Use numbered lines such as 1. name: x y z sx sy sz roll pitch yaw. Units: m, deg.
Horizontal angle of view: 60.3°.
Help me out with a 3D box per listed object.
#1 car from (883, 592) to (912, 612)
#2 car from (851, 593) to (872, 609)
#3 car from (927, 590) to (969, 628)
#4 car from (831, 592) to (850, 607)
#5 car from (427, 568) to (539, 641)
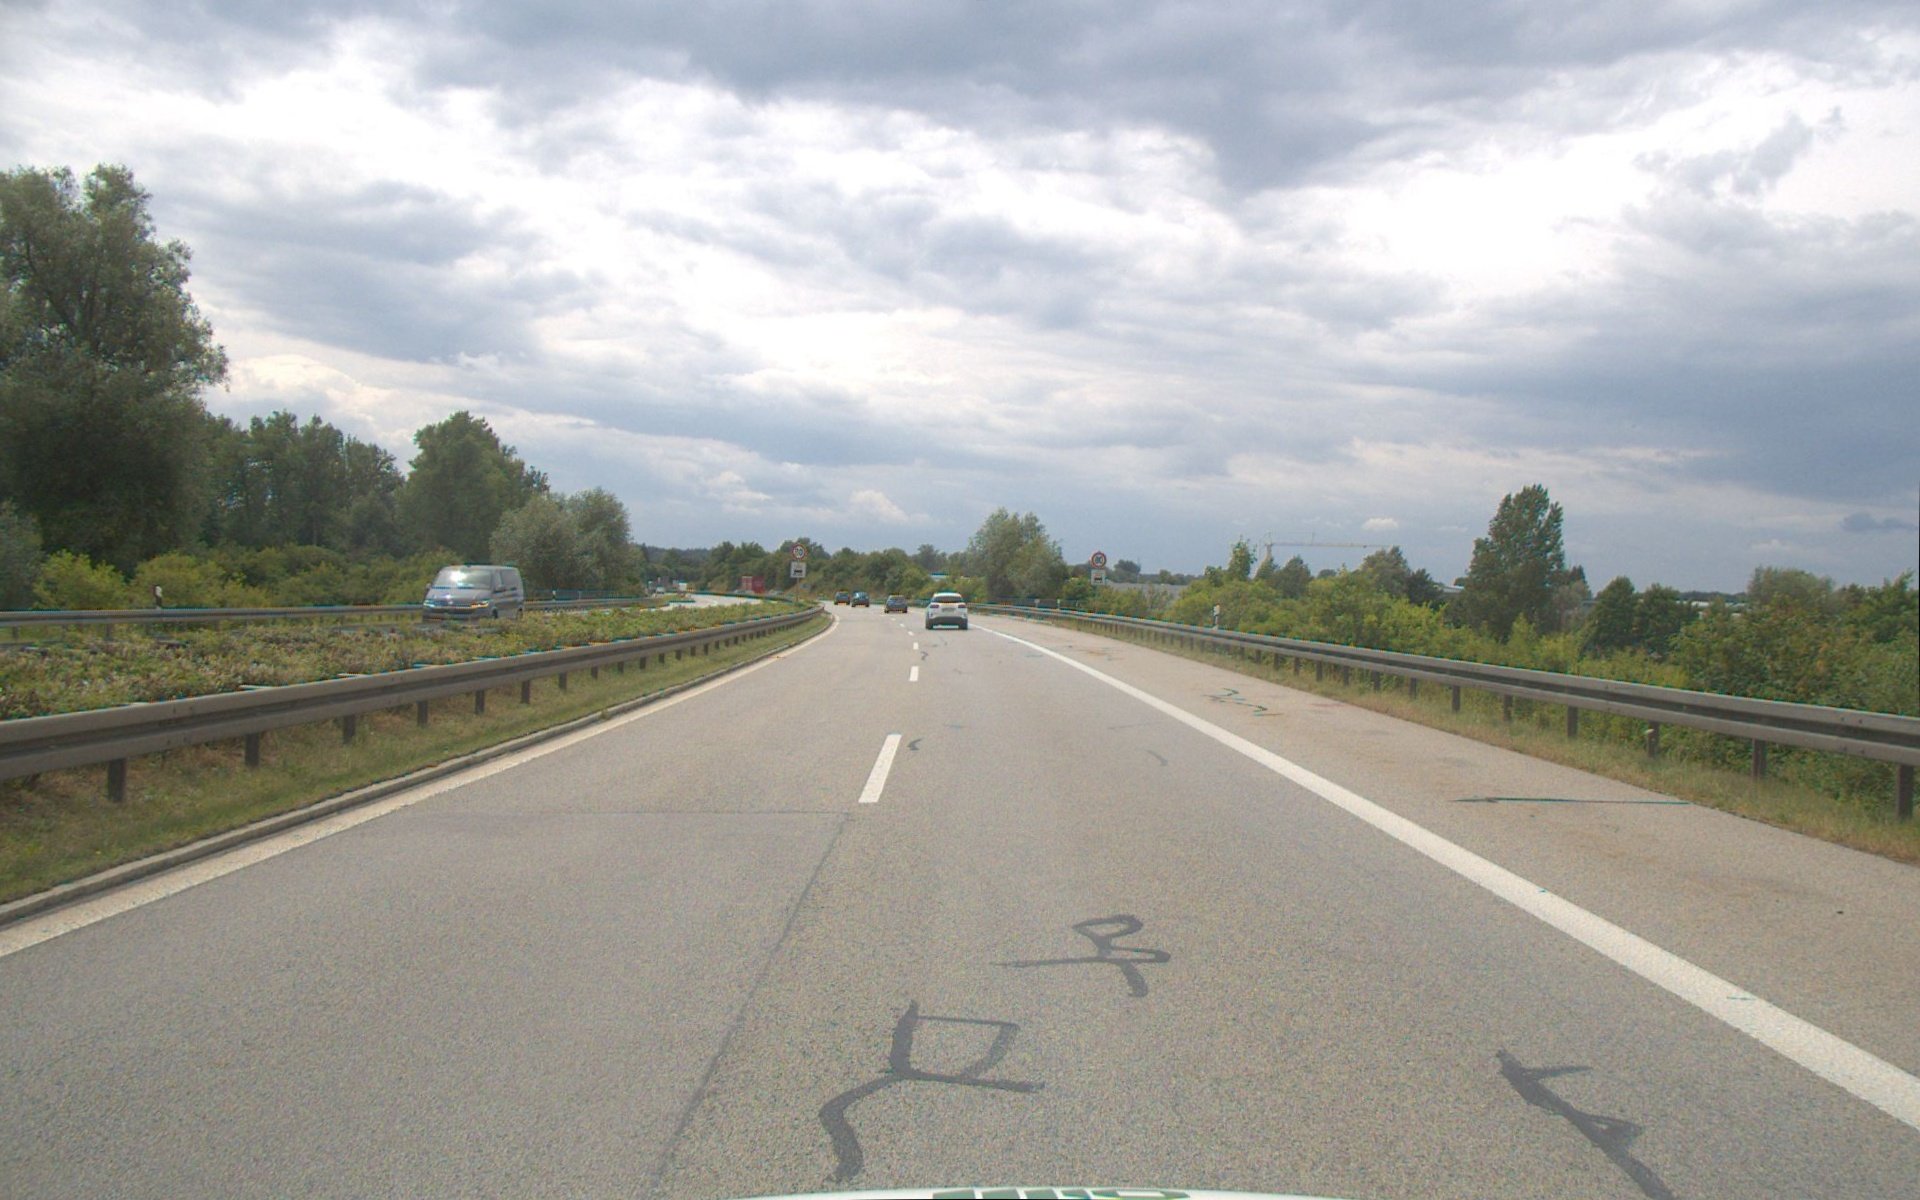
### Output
1. car: -5.165 0.157 136.268 1.857 1.668 4.613 0 0 -8
2. car: -10.744 0.052 180.011 1.867 1.668 4.769 1 0 -9
3. car: -0.594 0.391 76.509 1.864 1.668 4.395 1 0 -1
4. car: -14.930 -0.047 206.257 1.794 1.825 4.401 0 0 -11
5. car: -13.480 0.111 47.029 1.666 1.917 5.227 1 0 0
